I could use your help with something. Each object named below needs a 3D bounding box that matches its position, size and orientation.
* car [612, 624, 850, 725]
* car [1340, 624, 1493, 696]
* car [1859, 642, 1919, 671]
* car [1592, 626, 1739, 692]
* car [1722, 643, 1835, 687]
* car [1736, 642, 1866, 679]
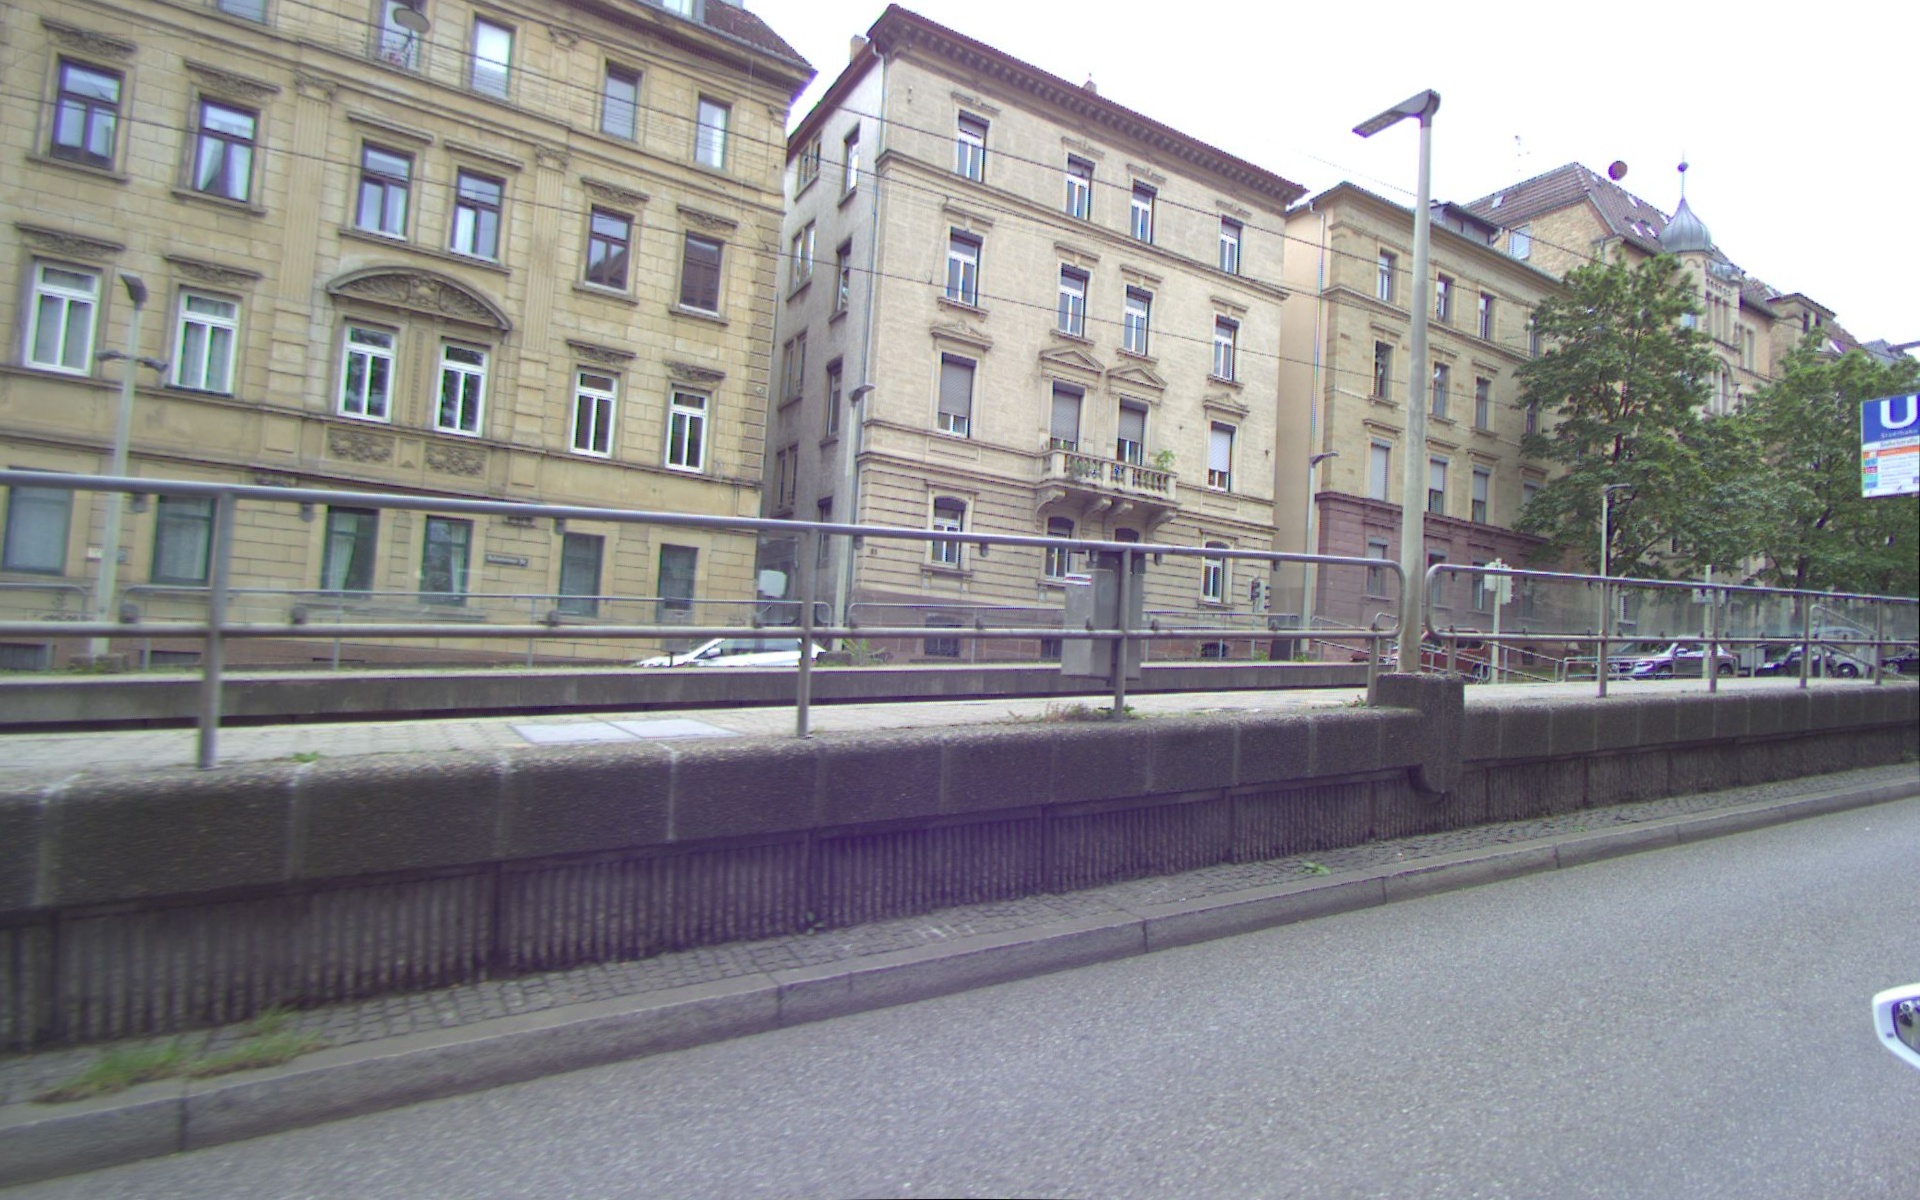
[{"bbox_3d":[-4.245,1.330,18.737,3.954,1.701,1.926,1,-3,-31],"label":"car"},{"bbox_3d":[12.834,1.639,28.214,4.088,1.884,1.841,1,-2,-29],"label":"car"},{"bbox_3d":[47.233,2.808,49.478,4.109,1.382,1.709,0,-2,31],"label":"car"},{"bbox_3d":[20.211,1.660,28.721,4.522,1.758,1.701,1,-2,-30],"label":"car"},{"bbox_3d":[28.752,2.266,35.259,4.168,1.466,1.671,2,-3,-30],"label":"car"},{"bbox_3d":[35.323,2.503,42.327,3.928,1.441,1.783,0,-2,29],"label":"car"}]
